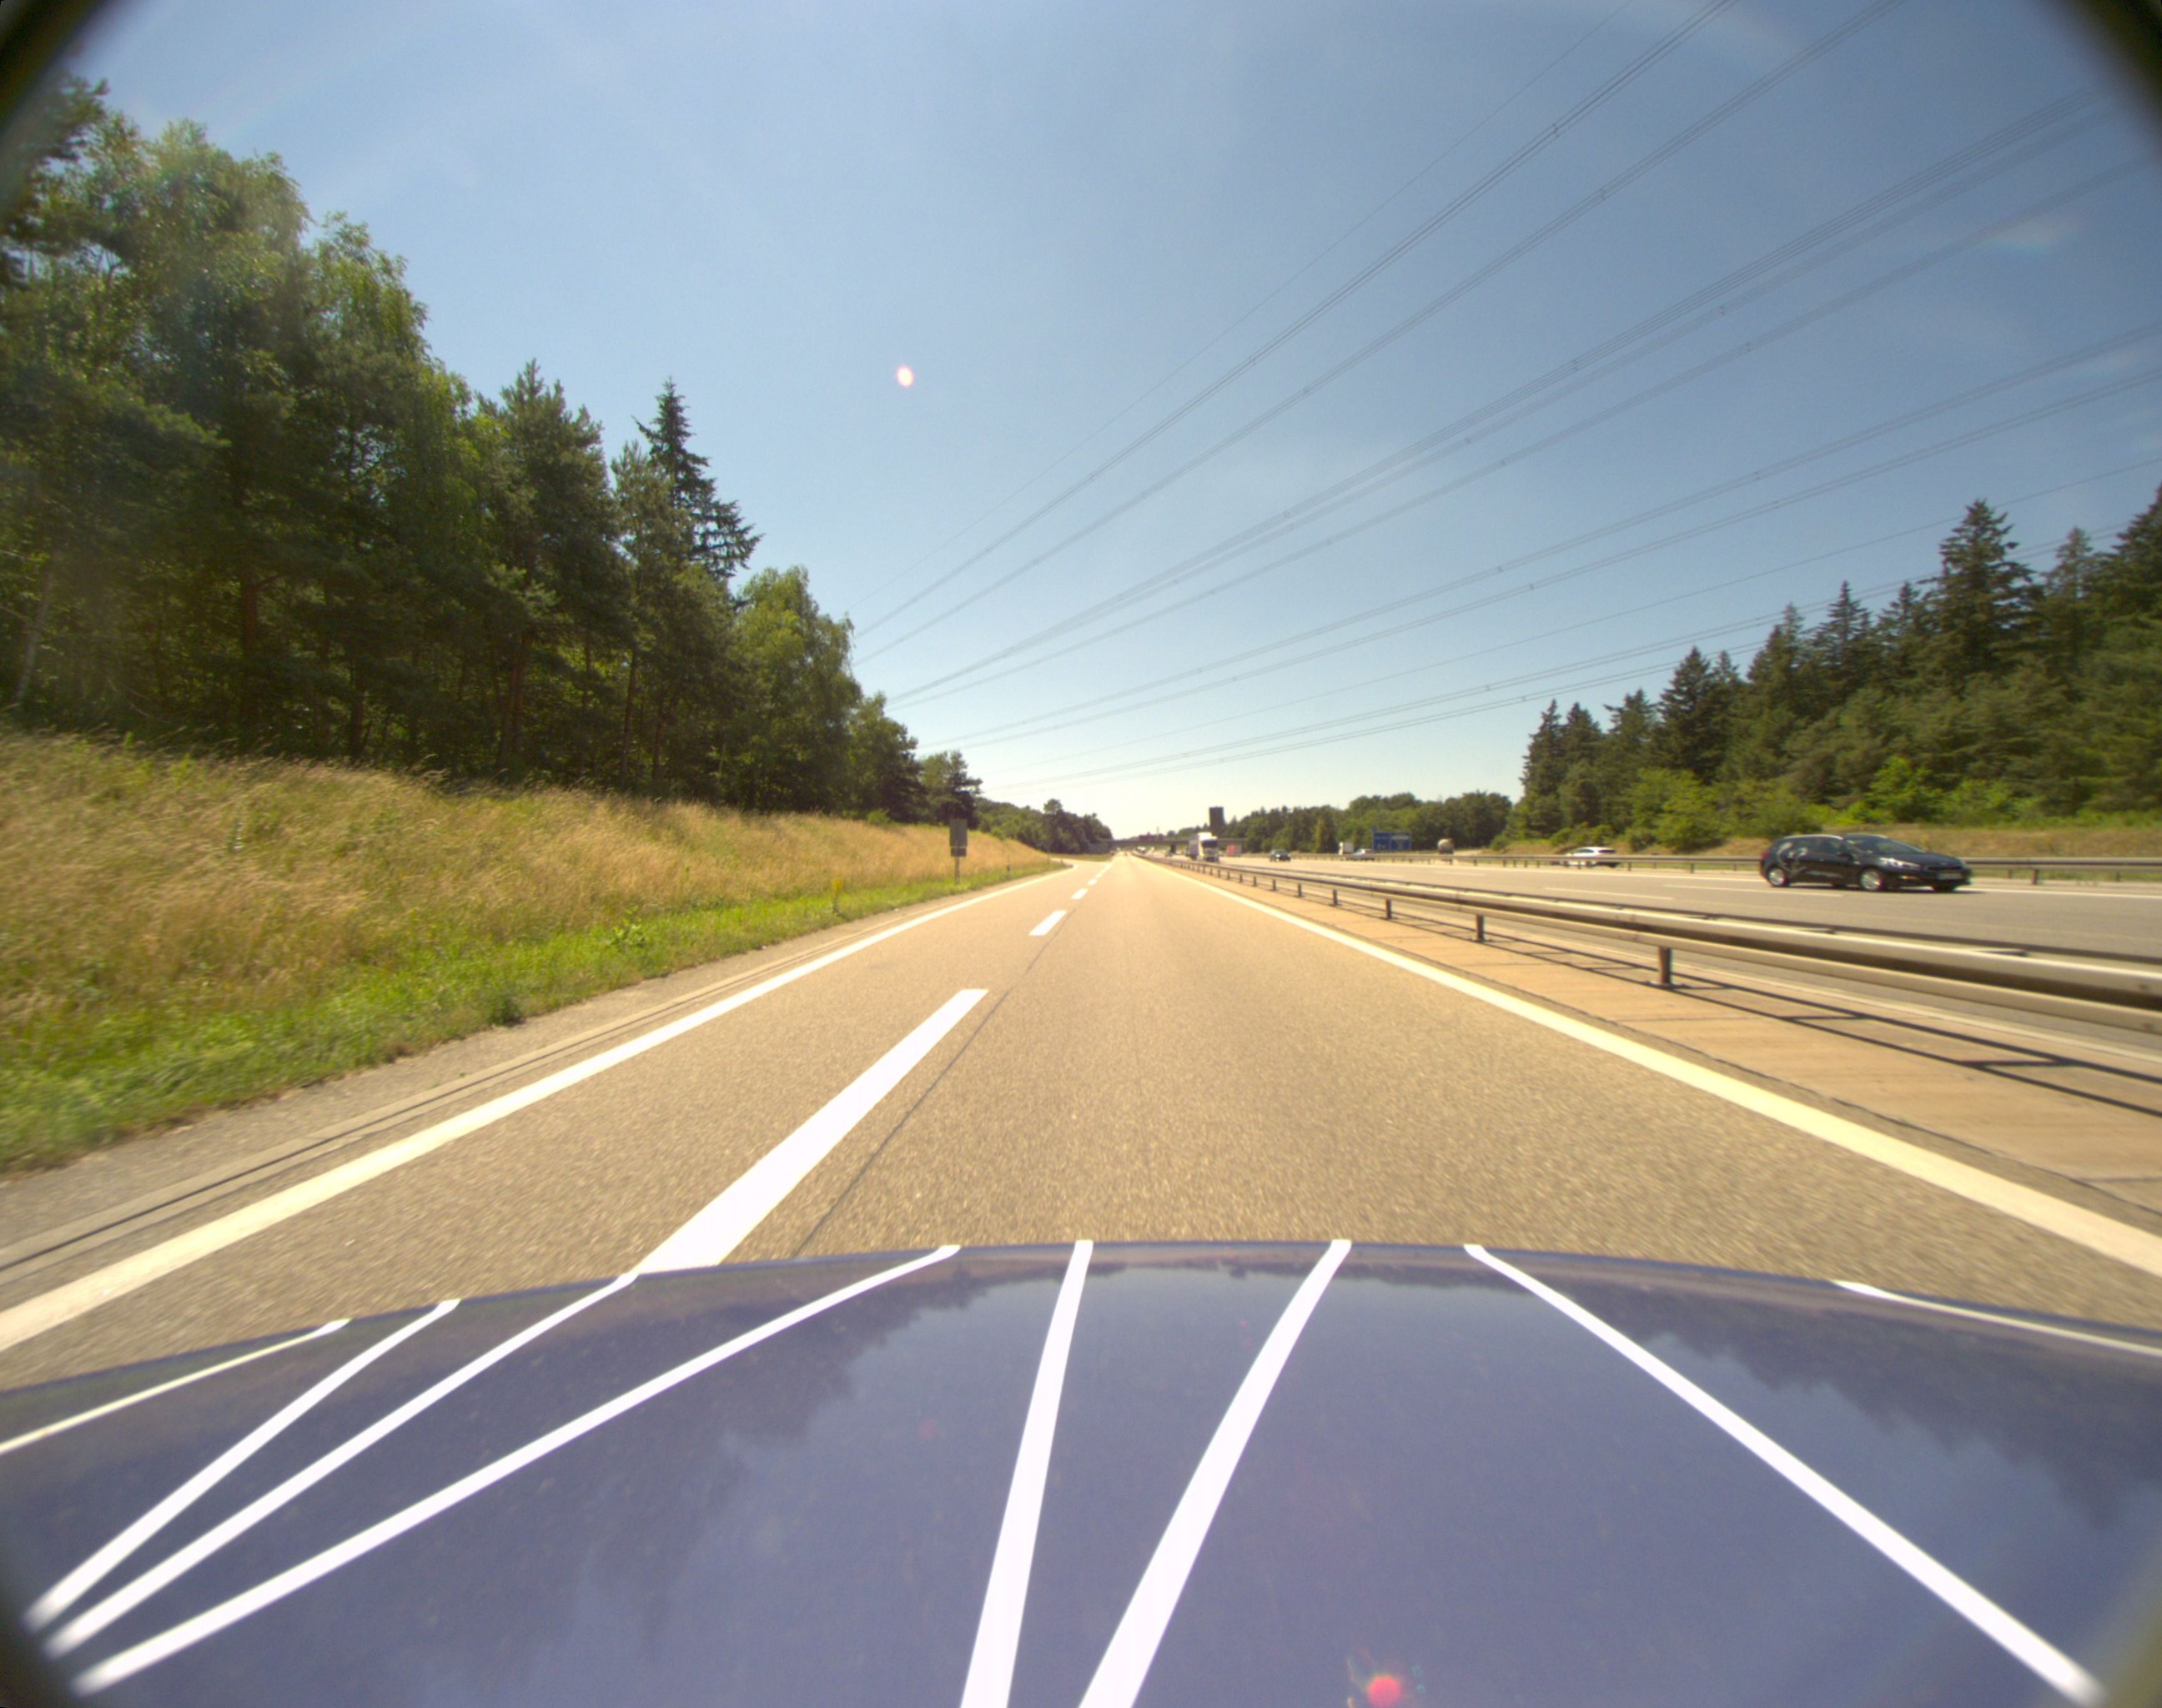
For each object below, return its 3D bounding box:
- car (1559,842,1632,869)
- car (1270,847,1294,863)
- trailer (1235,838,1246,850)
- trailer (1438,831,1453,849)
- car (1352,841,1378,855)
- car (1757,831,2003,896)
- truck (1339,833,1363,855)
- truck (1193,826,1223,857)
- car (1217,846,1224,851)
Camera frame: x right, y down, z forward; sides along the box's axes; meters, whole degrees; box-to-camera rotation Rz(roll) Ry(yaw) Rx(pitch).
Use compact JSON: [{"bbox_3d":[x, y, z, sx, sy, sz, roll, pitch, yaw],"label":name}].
[{"bbox_3d":[36.320,0.077,53.831,1.998,1.773,4.811,-1,1,1],"label":"car"},{"bbox_3d":[23.804,0.112,89.926,1.998,1.707,4.001,-1,1,4],"label":"car"},{"bbox_3d":[53.213,-3.293,254.225,2.546,3.775,13.749,-1,0,8],"label":"trailer"},{"bbox_3d":[79.814,-3.034,166.488,2.774,3.775,8.951,-1,0,24],"label":"trailer"},{"bbox_3d":[38.446,-0.871,102.981,1.998,1.773,3.999,-1,1,1],"label":"car"},{"bbox_3d":[20.466,0.202,19.786,1.998,1.467,4.242,-1,1,1],"label":"car"},{"bbox_3d":[56.253,-2.176,158.225,2.866,4.321,7.531,-1,2,5],"label":"truck"},{"bbox_3d":[17.807,-1.732,107.044,2.709,4.035,11.049,-1,0,2],"label":"truck"},{"bbox_3d":[47.026,-1.773,255.600,1.776,1.674,4.824,-1,2,3],"label":"car"}]
